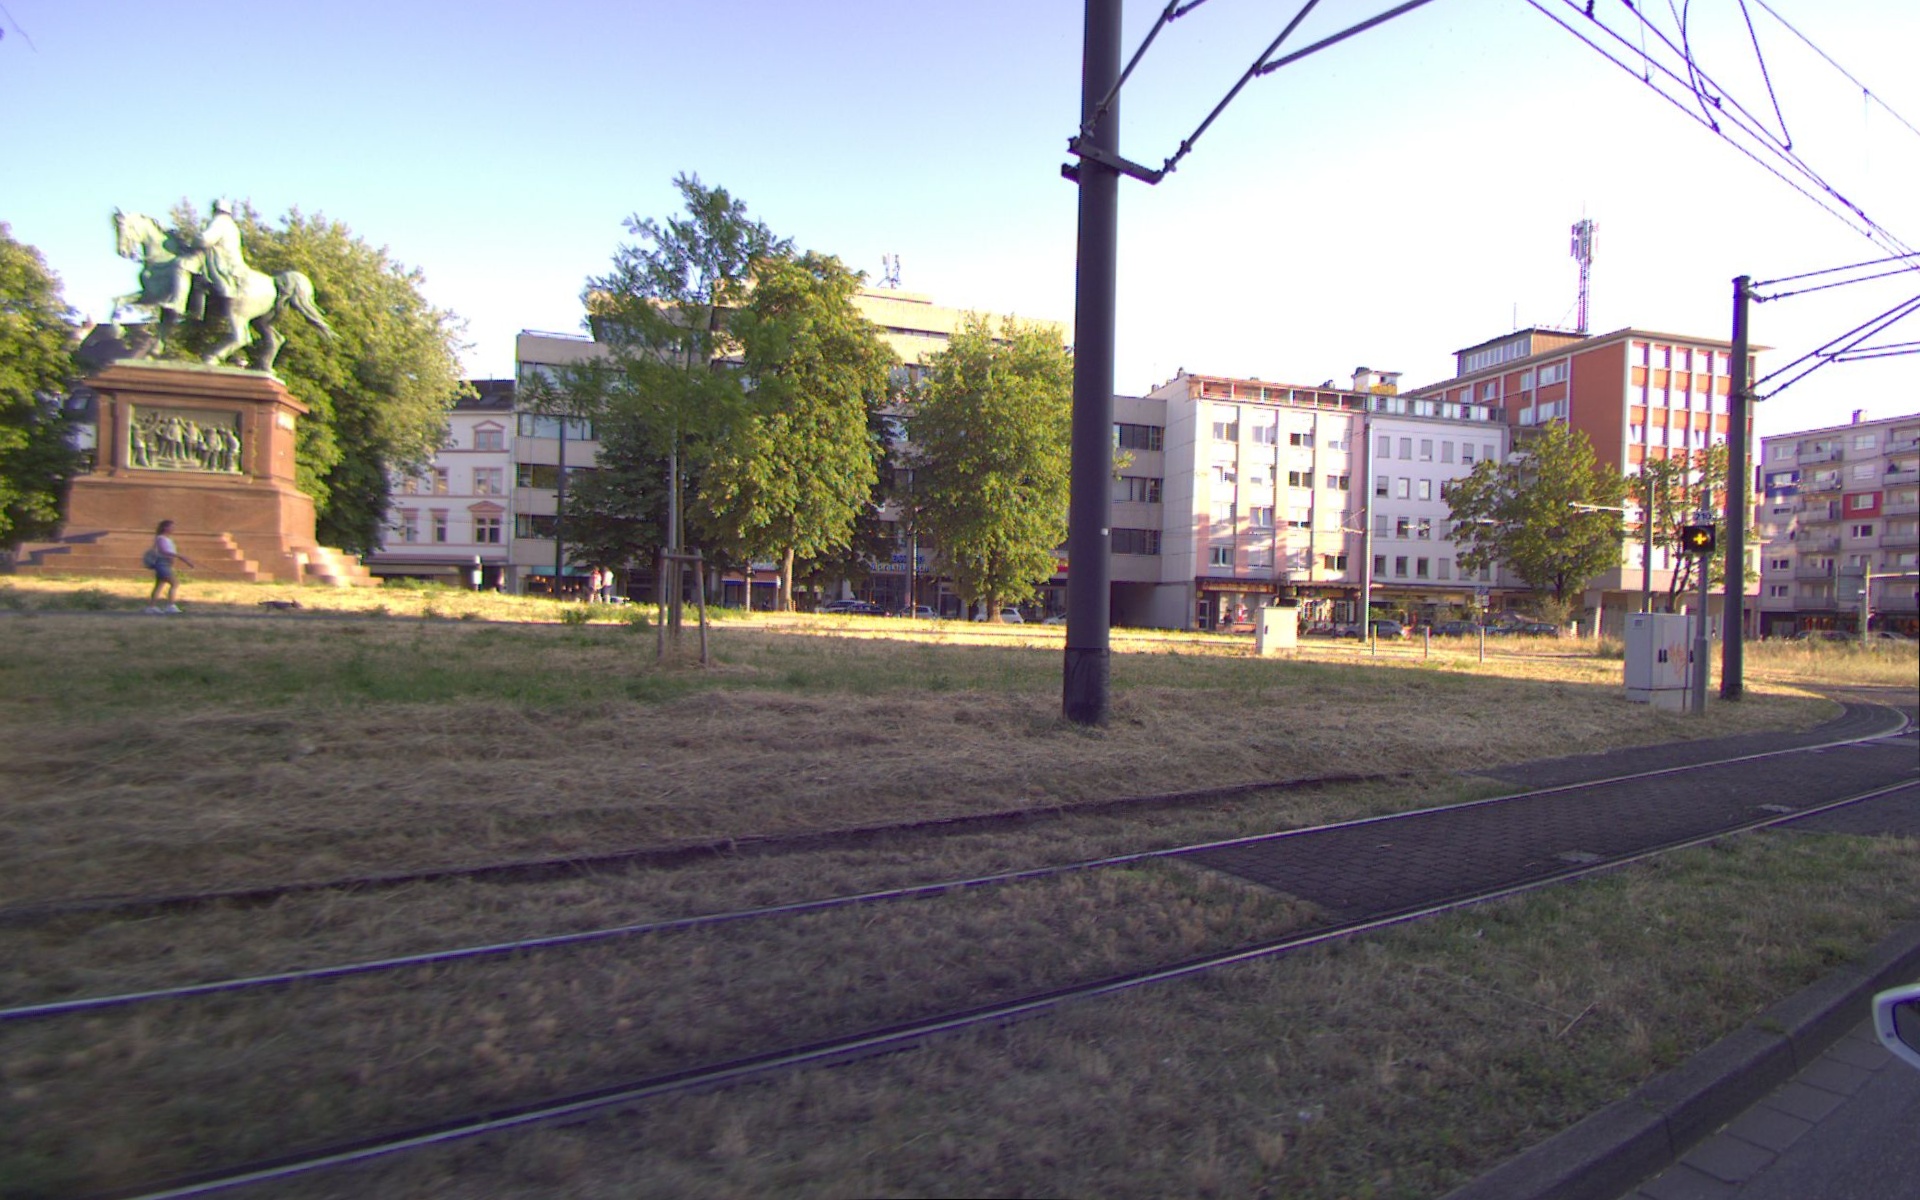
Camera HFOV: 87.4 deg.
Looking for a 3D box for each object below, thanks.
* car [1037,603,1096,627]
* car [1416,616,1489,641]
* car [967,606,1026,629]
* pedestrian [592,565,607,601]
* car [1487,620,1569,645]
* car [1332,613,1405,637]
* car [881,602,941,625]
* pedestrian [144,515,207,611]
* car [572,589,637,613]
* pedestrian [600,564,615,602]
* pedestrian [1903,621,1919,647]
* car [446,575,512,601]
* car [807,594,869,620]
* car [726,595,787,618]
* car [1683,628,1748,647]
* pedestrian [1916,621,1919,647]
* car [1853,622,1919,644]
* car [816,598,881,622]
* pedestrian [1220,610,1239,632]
[{"bbox_3d":[7.282,1.020,68.640,3.919,1.573,1.761,0,0,10],"label":"car"},{"bbox_3d":[32.116,1.828,65.547,3.919,1.547,1.761,0,0,7],"label":"car"},{"bbox_3d":[2.565,1.209,69.414,3.919,1.573,1.761,0,0,7],"label":"car"},{"bbox_3d":[-15.449,-0.736,43.024,0.544,1.532,0.453,0,0,-14],"label":"pedestrian"},{"bbox_3d":[36.501,2.084,64.607,4.205,1.547,1.761,0,0,7],"label":"car"},{"bbox_3d":[25.288,1.560,62.293,3.919,1.409,1.712,0,0,9],"label":"car"},{"bbox_3d":[-3.419,0.951,70.289,3.919,1.573,1.761,0,0,7],"label":"car"},{"bbox_3d":[-14.392,-0.659,18.447,0.826,1.712,0.472,1,0,-30],"label":"pedestrian"},{"bbox_3d":[-24.992,0.072,70.581,3.919,1.601,1.798,0,0,11],"label":"car"},{"bbox_3d":[-15.294,-0.728,43.642,0.544,1.602,0.618,0,0,-14],"label":"pedestrian"},{"bbox_3d":[70.765,2.505,74.653,0.724,1.876,0.705,0,0,-15],"label":"pedestrian"},{"bbox_3d":[-36.034,-0.894,75.326,4.124,1.970,1.761,0,0,7],"label":"car"},{"bbox_3d":[-8.653,0.477,71.427,4.124,1.818,1.761,0,0,7],"label":"car"},{"bbox_3d":[-14.746,0.476,72.880,3.986,1.577,1.867,0,0,7],"label":"car"},{"bbox_3d":[67.620,3.342,89.975,1.959,1.606,4.273,0,0,-20],"label":"car"},{"bbox_3d":[70.937,2.502,73.862,0.808,1.872,0.602,0,0,-15],"label":"pedestrian"},{"bbox_3d":[75.074,2.636,81.237,1.776,1.606,3.859,0,0,-20],"label":"car"},{"bbox_3d":[-7.520,0.647,67.914,3.986,1.577,1.867,0,0,7],"label":"car"},{"bbox_3d":[18.980,1.454,70.857,0.840,1.548,1.117,0,0,-18],"label":"pedestrian"}]
